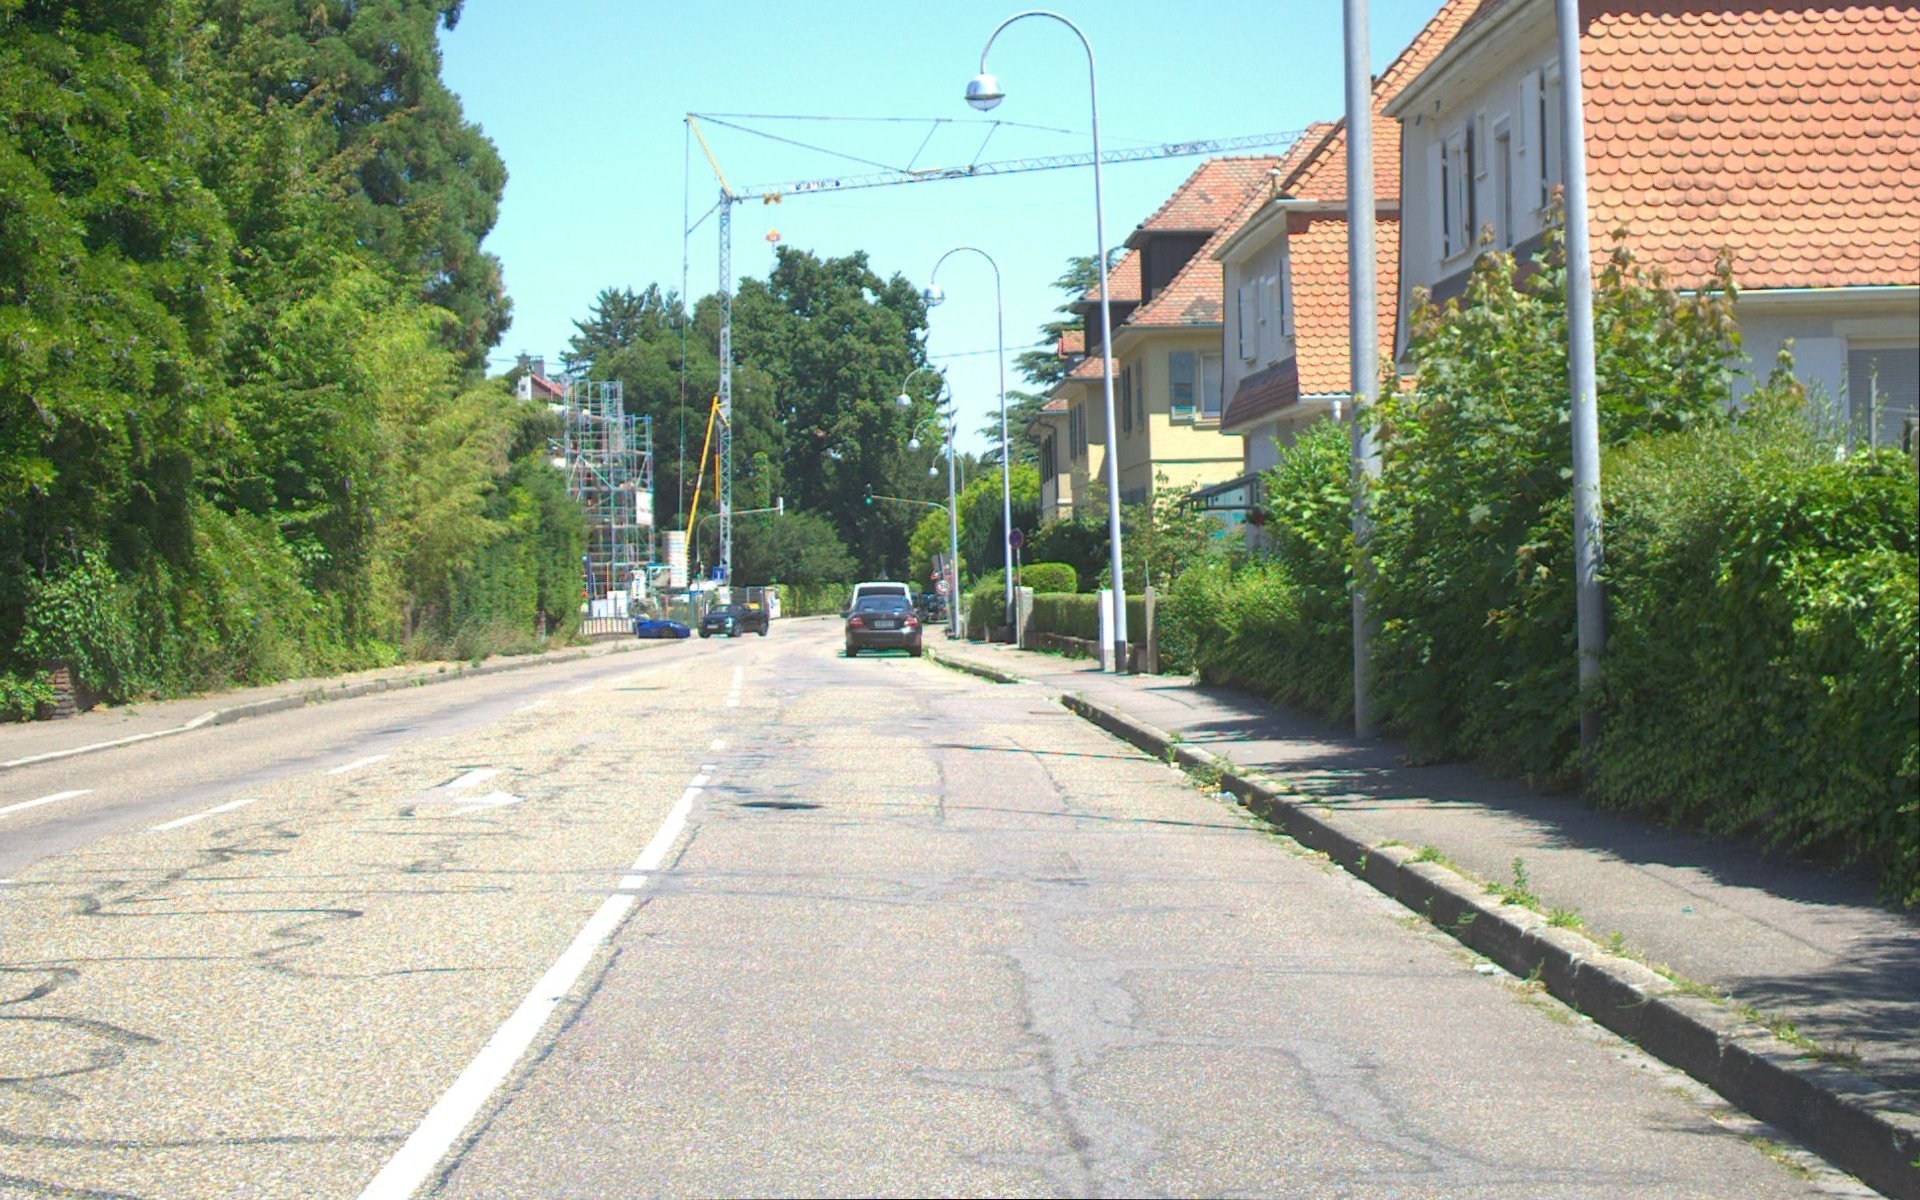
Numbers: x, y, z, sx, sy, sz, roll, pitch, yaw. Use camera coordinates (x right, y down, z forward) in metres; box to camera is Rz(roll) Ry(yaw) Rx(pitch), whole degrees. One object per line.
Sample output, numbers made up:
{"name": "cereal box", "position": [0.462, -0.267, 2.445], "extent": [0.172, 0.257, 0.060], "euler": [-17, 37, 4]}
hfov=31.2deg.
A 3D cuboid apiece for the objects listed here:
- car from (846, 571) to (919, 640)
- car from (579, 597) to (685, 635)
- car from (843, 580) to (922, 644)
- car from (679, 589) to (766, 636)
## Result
{"name": "car", "position": [-2.256, 0.158, 98.569], "extent": [1.993, 1.895, 4.823], "euler": [1, 0, -2]}
{"name": "car", "position": [-13.716, 0.666, 143.857], "extent": [3.988, 1.463, 1.964], "euler": [-1, 1, 10]}
{"name": "car", "position": [-1.787, 0.294, 78.587], "extent": [1.692, 1.414, 4.551], "euler": [-1, -1, -2]}
{"name": "car", "position": [-10.360, 0.543, 150.252], "extent": [1.996, 1.844, 4.706], "euler": [0, 2, 21]}
